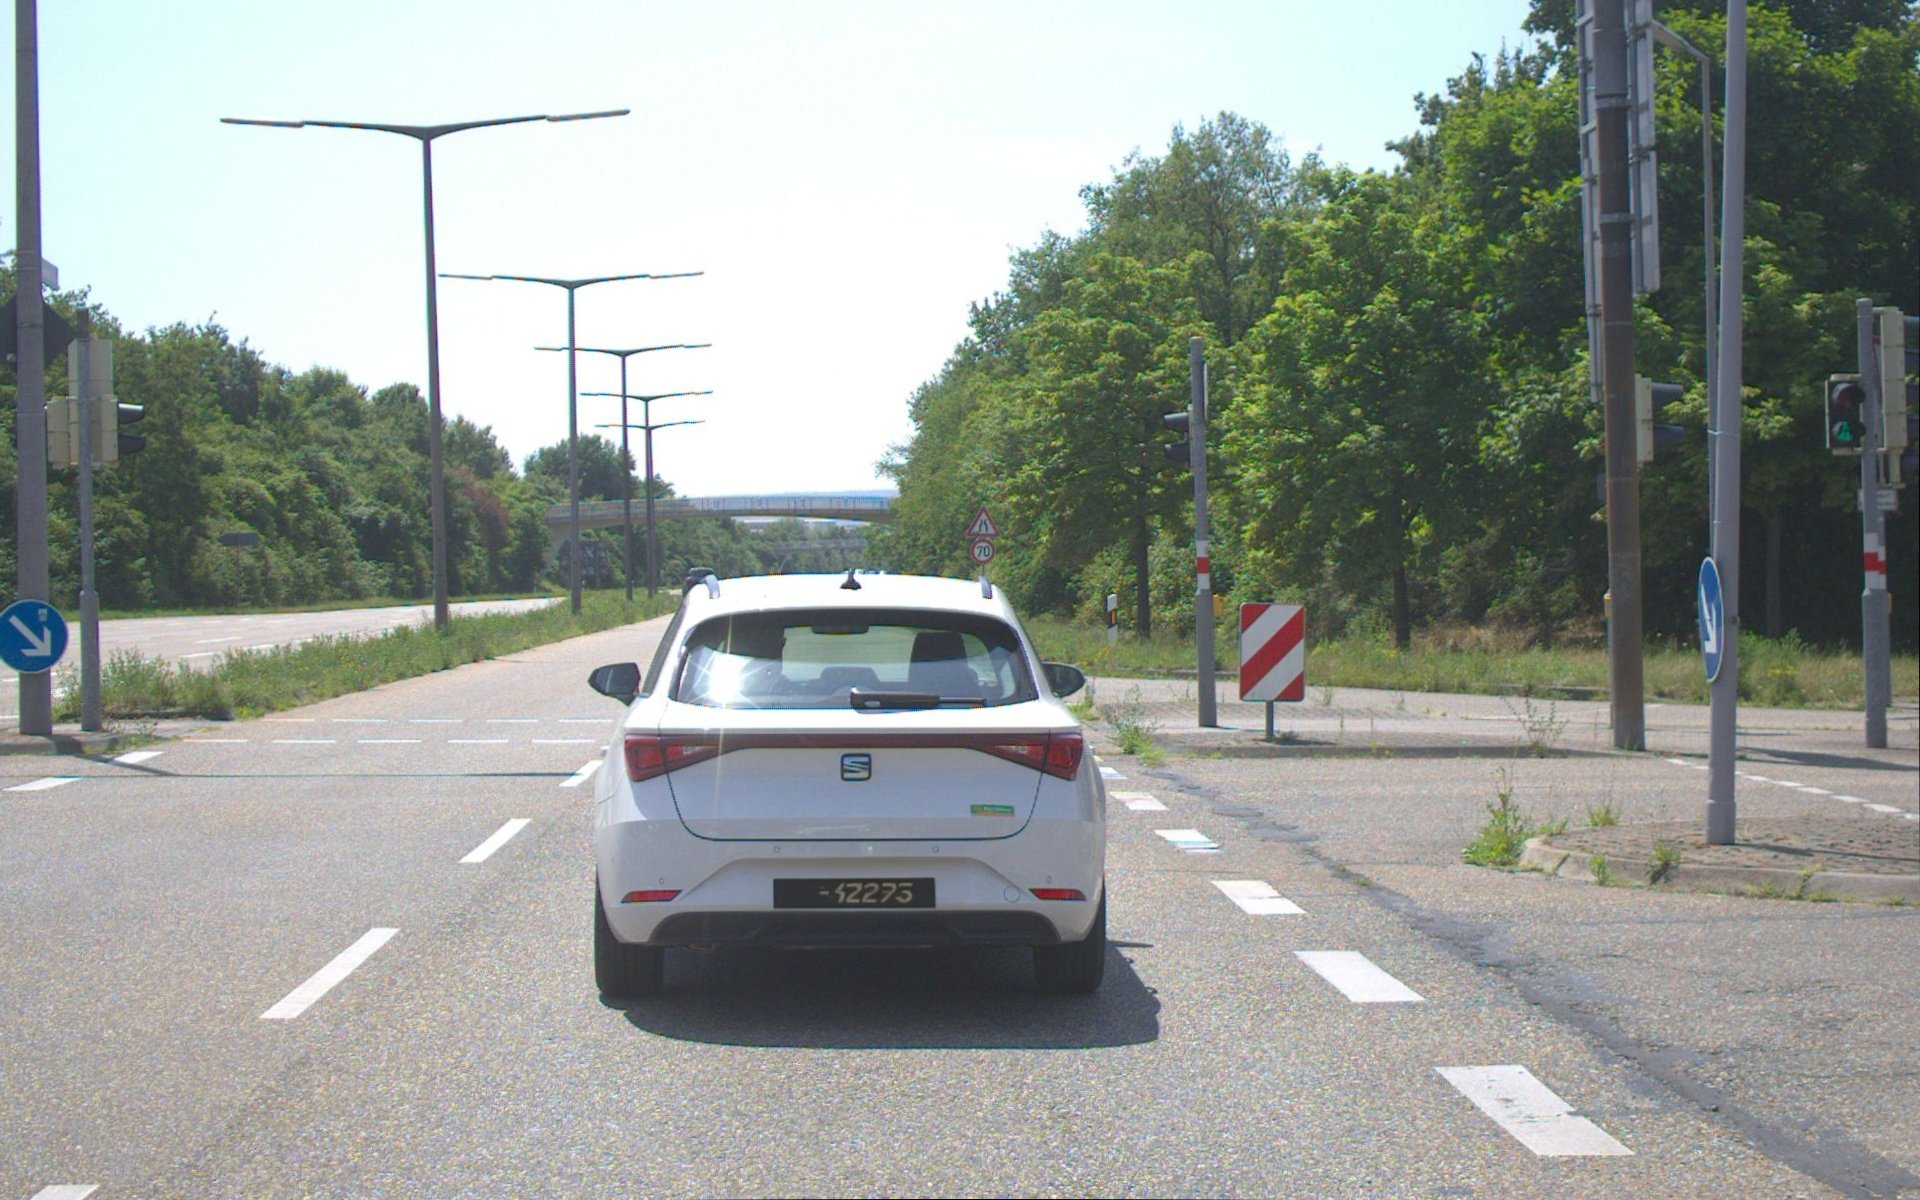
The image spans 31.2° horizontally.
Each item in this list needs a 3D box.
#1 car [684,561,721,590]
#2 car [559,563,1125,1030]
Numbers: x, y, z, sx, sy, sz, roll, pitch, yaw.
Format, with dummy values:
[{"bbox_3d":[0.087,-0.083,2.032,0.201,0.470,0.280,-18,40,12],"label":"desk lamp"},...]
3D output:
[{"bbox_3d":[-15.536,-1.480,207.340,1.855,1.703,4.000,-1,1,0],"label":"car"},{"bbox_3d":[-0.413,0.612,12.531,1.734,1.424,3.695,1,0,-1],"label":"car"}]
